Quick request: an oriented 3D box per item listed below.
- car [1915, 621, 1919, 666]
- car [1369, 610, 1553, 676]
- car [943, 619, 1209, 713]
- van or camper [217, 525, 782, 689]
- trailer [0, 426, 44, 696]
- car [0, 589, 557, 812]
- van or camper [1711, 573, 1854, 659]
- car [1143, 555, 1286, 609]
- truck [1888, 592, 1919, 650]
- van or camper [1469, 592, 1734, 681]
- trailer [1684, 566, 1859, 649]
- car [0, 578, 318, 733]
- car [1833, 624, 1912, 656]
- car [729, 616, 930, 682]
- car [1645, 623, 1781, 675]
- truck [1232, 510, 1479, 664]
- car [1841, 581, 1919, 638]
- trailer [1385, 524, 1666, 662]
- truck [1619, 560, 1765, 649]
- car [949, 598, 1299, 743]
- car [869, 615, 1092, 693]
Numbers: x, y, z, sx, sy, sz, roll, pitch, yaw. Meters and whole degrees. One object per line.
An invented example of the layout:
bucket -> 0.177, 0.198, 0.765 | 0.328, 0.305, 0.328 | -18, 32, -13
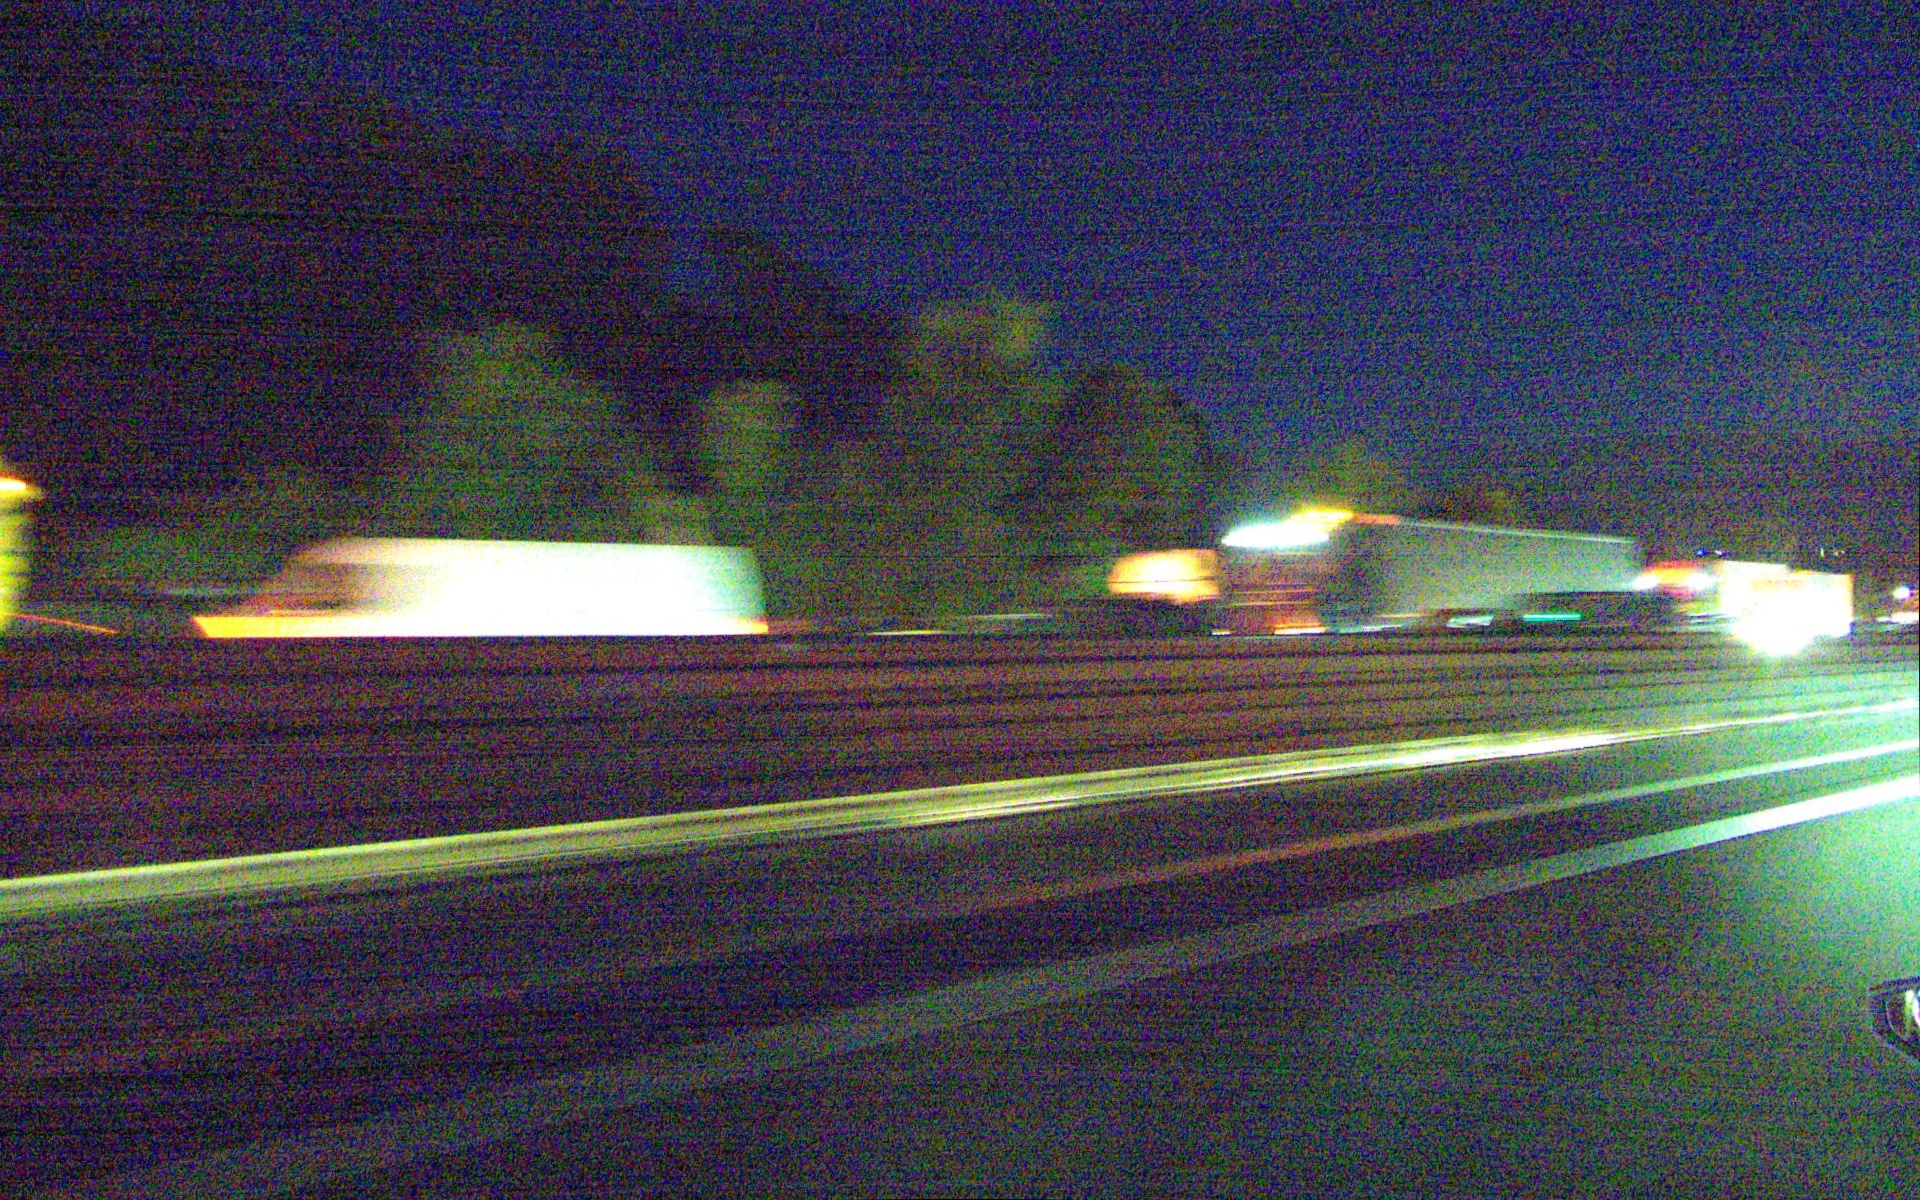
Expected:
car -> 31.530, 1.381, 31.181 | 3.949, 1.372, 1.564 | 1, 0, -28
car -> 11.596, 0.972, 23.199 | 4.188, 1.372, 1.788 | 1, 0, -30
car -> 1.971, 1.042, 16.781 | 4.188, 1.372, 1.788 | 1, 0, -30
van or camper -> -6.718, 0.159, 15.577 | 7.561, 2.040, 2.174 | 1, 0, -34
trailer -> -15.392, -0.617, 9.928 | 8.896, 3.218, 2.594 | 2, 1, -30
car -> -5.204, 0.645, 7.482 | 3.950, 1.372, 1.564 | 1, 0, -28
van or camper -> 34.324, 0.683, 41.825 | 7.312, 3.315, 2.419 | 1, 0, -32
car -> 7.232, -0.486, 28.453 | 3.952, 1.372, 1.563 | 1, 0, -30
truck -> 53.375, 1.239, 54.551 | 7.372, 3.025, 2.542 | 2, -1, -33
van or camper -> 11.373, 0.609, 17.678 | 5.291, 1.372, 1.810 | 1, 0, -32
trailer -> 40.694, 0.473, 50.112 | 12.989, 3.724, 2.866 | 1, 0, -33
car -> -8.625, 0.494, 9.678 | 3.949, 1.372, 1.564 | 1, 0, -28
car -> 41.950, 1.820, 46.151 | 3.956, 1.372, 1.705 | 1, 0, -32
car -> -2.959, 1.086, 22.930 | 4.188, 1.372, 1.788 | 1, 0, -30
car -> 21.512, 1.370, 28.679 | 3.949, 1.372, 1.564 | 1, 0, -27
truck -> 10.350, -0.262, 26.068 | 6.647, 3.561, 2.391 | 1, 1, -32
car -> 36.175, 0.403, 38.957 | 3.958, 2.040, 1.981 | 2, 1, -34
trailer -> 17.520, -0.061, 30.673 | 11.055, 3.675, 2.381 | 2, 0, -32
truck -> 32.858, 0.263, 45.003 | 7.185, 3.724, 2.866 | 1, 0, -33
car -> 2.000, 0.769, 12.044 | 3.949, 1.491, 1.652 | 1, 0, -28
car -> 0.450, 1.033, 19.822 | 4.188, 1.372, 1.563 | 1, 0, -30
